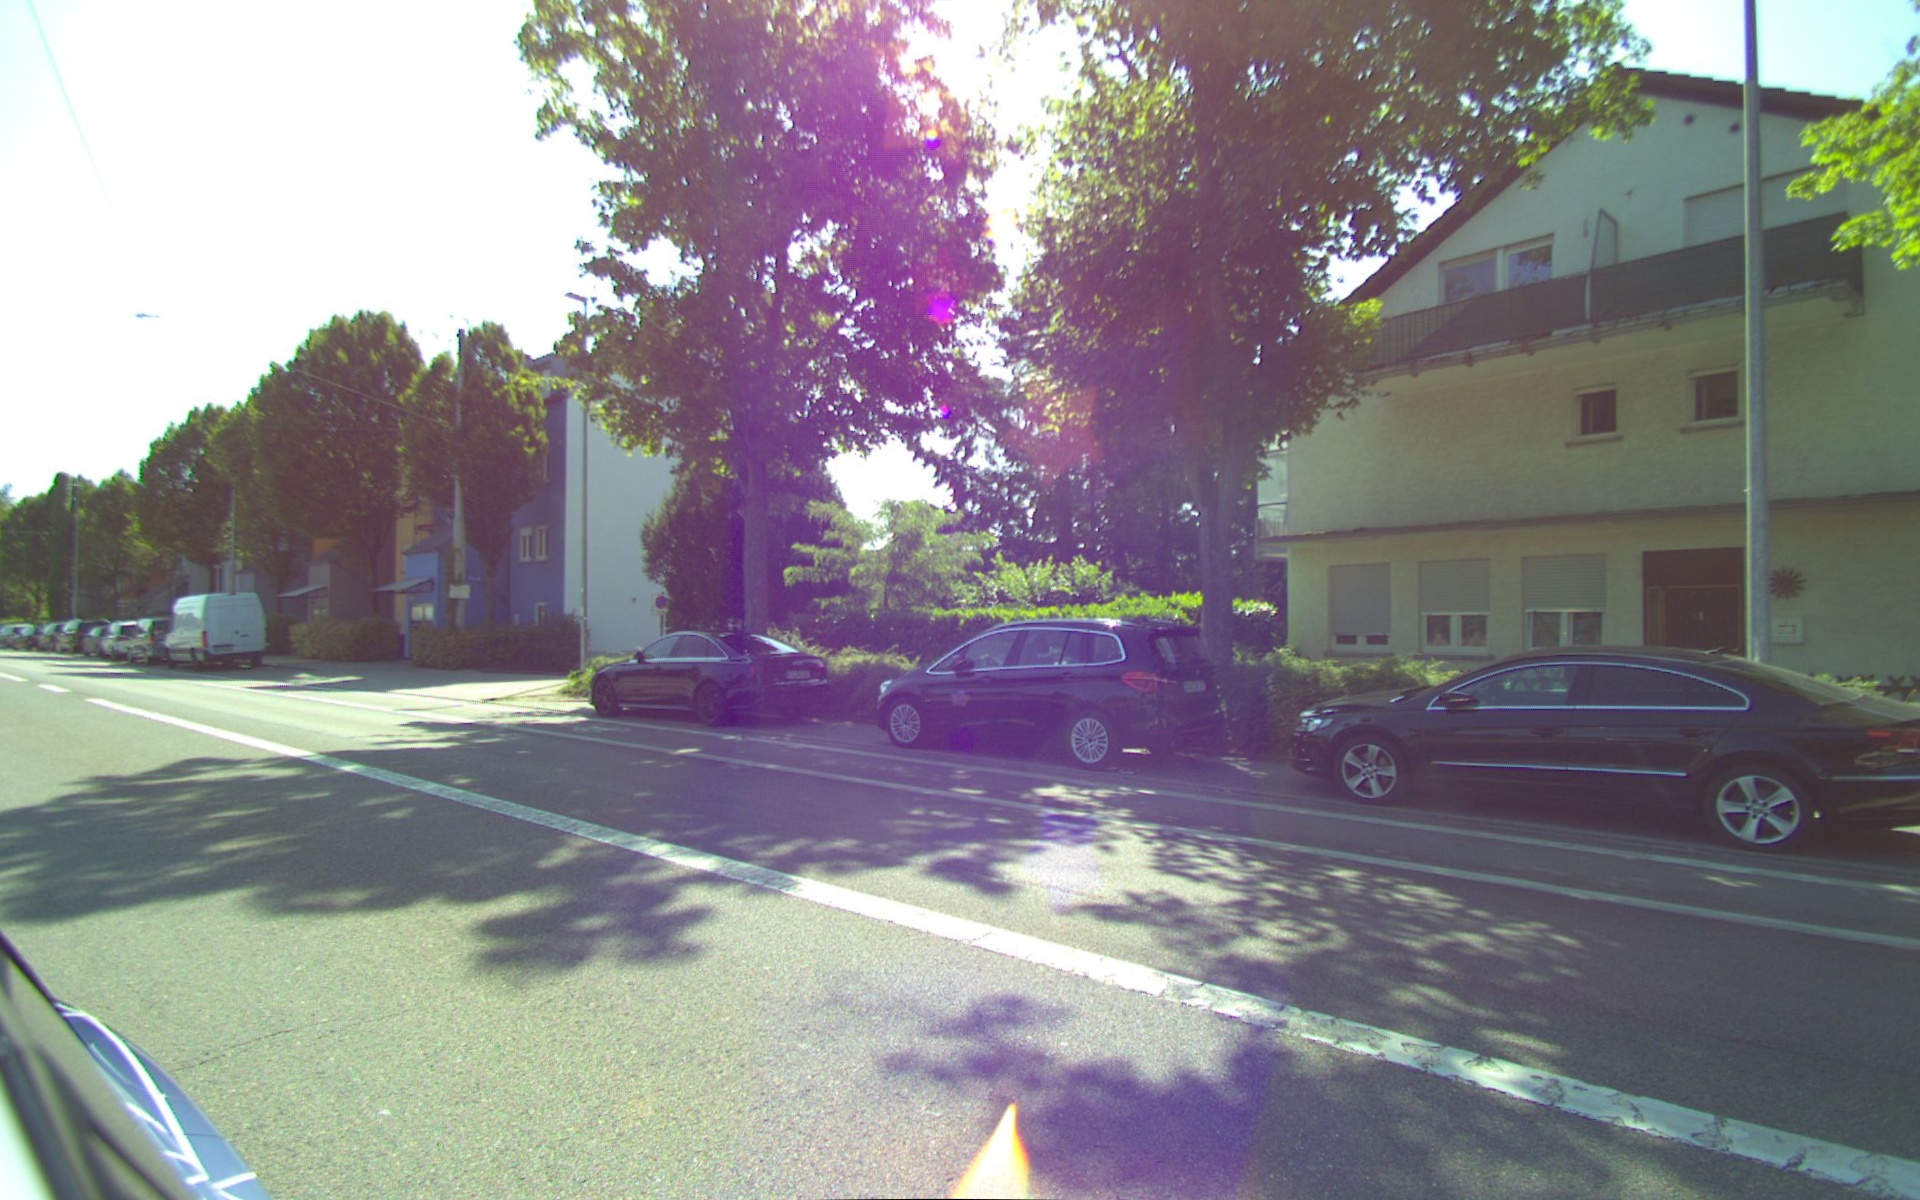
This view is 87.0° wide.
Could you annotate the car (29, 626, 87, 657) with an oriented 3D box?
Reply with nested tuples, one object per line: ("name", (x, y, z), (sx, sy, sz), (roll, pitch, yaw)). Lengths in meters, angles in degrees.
("car", (-50.068, 2.275, 56.160), (4.159, 1.619, 1.661), (-1, -1, 37))

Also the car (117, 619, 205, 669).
("car", (-33.723, 1.816, 42.648), (4.964, 1.879, 1.973), (-1, 2, 41))

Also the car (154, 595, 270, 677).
("car", (-27.669, 1.283, 37.313), (7.084, 2.697, 1.973), (-2, 1, 42))

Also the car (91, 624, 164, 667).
("car", (-38.000, 2.022, 46.152), (4.539, 1.715, 1.829), (-1, 2, 42))

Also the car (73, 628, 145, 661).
("car", (-41.747, 2.146, 49.630), (4.069, 1.466, 1.849), (-1, 1, 37))

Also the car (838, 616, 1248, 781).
("car", (0.817, 1.033, 12.311), (4.891, 1.618, 1.743), (-1, -1, 41))

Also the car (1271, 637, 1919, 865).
("car", (5.219, 1.041, 8.397), (4.779, 1.390, 1.673), (-2, -1, 41))

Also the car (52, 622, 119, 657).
("car", (-45.845, 2.035, 53.009), (4.343, 1.741, 1.812), (-1, 0, 38))

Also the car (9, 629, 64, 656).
("car", (-54.809, 2.493, 60.034), (4.206, 1.481, 1.662), (-1, -1, 37))

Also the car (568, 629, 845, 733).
("car", (-4.284, 1.223, 16.696), (4.903, 1.477, 1.822), (-1, -2, 38))

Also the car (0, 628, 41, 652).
("car", (-60.063, 2.517, 64.157), (4.826, 1.457, 1.663), (-1, -1, 35))
